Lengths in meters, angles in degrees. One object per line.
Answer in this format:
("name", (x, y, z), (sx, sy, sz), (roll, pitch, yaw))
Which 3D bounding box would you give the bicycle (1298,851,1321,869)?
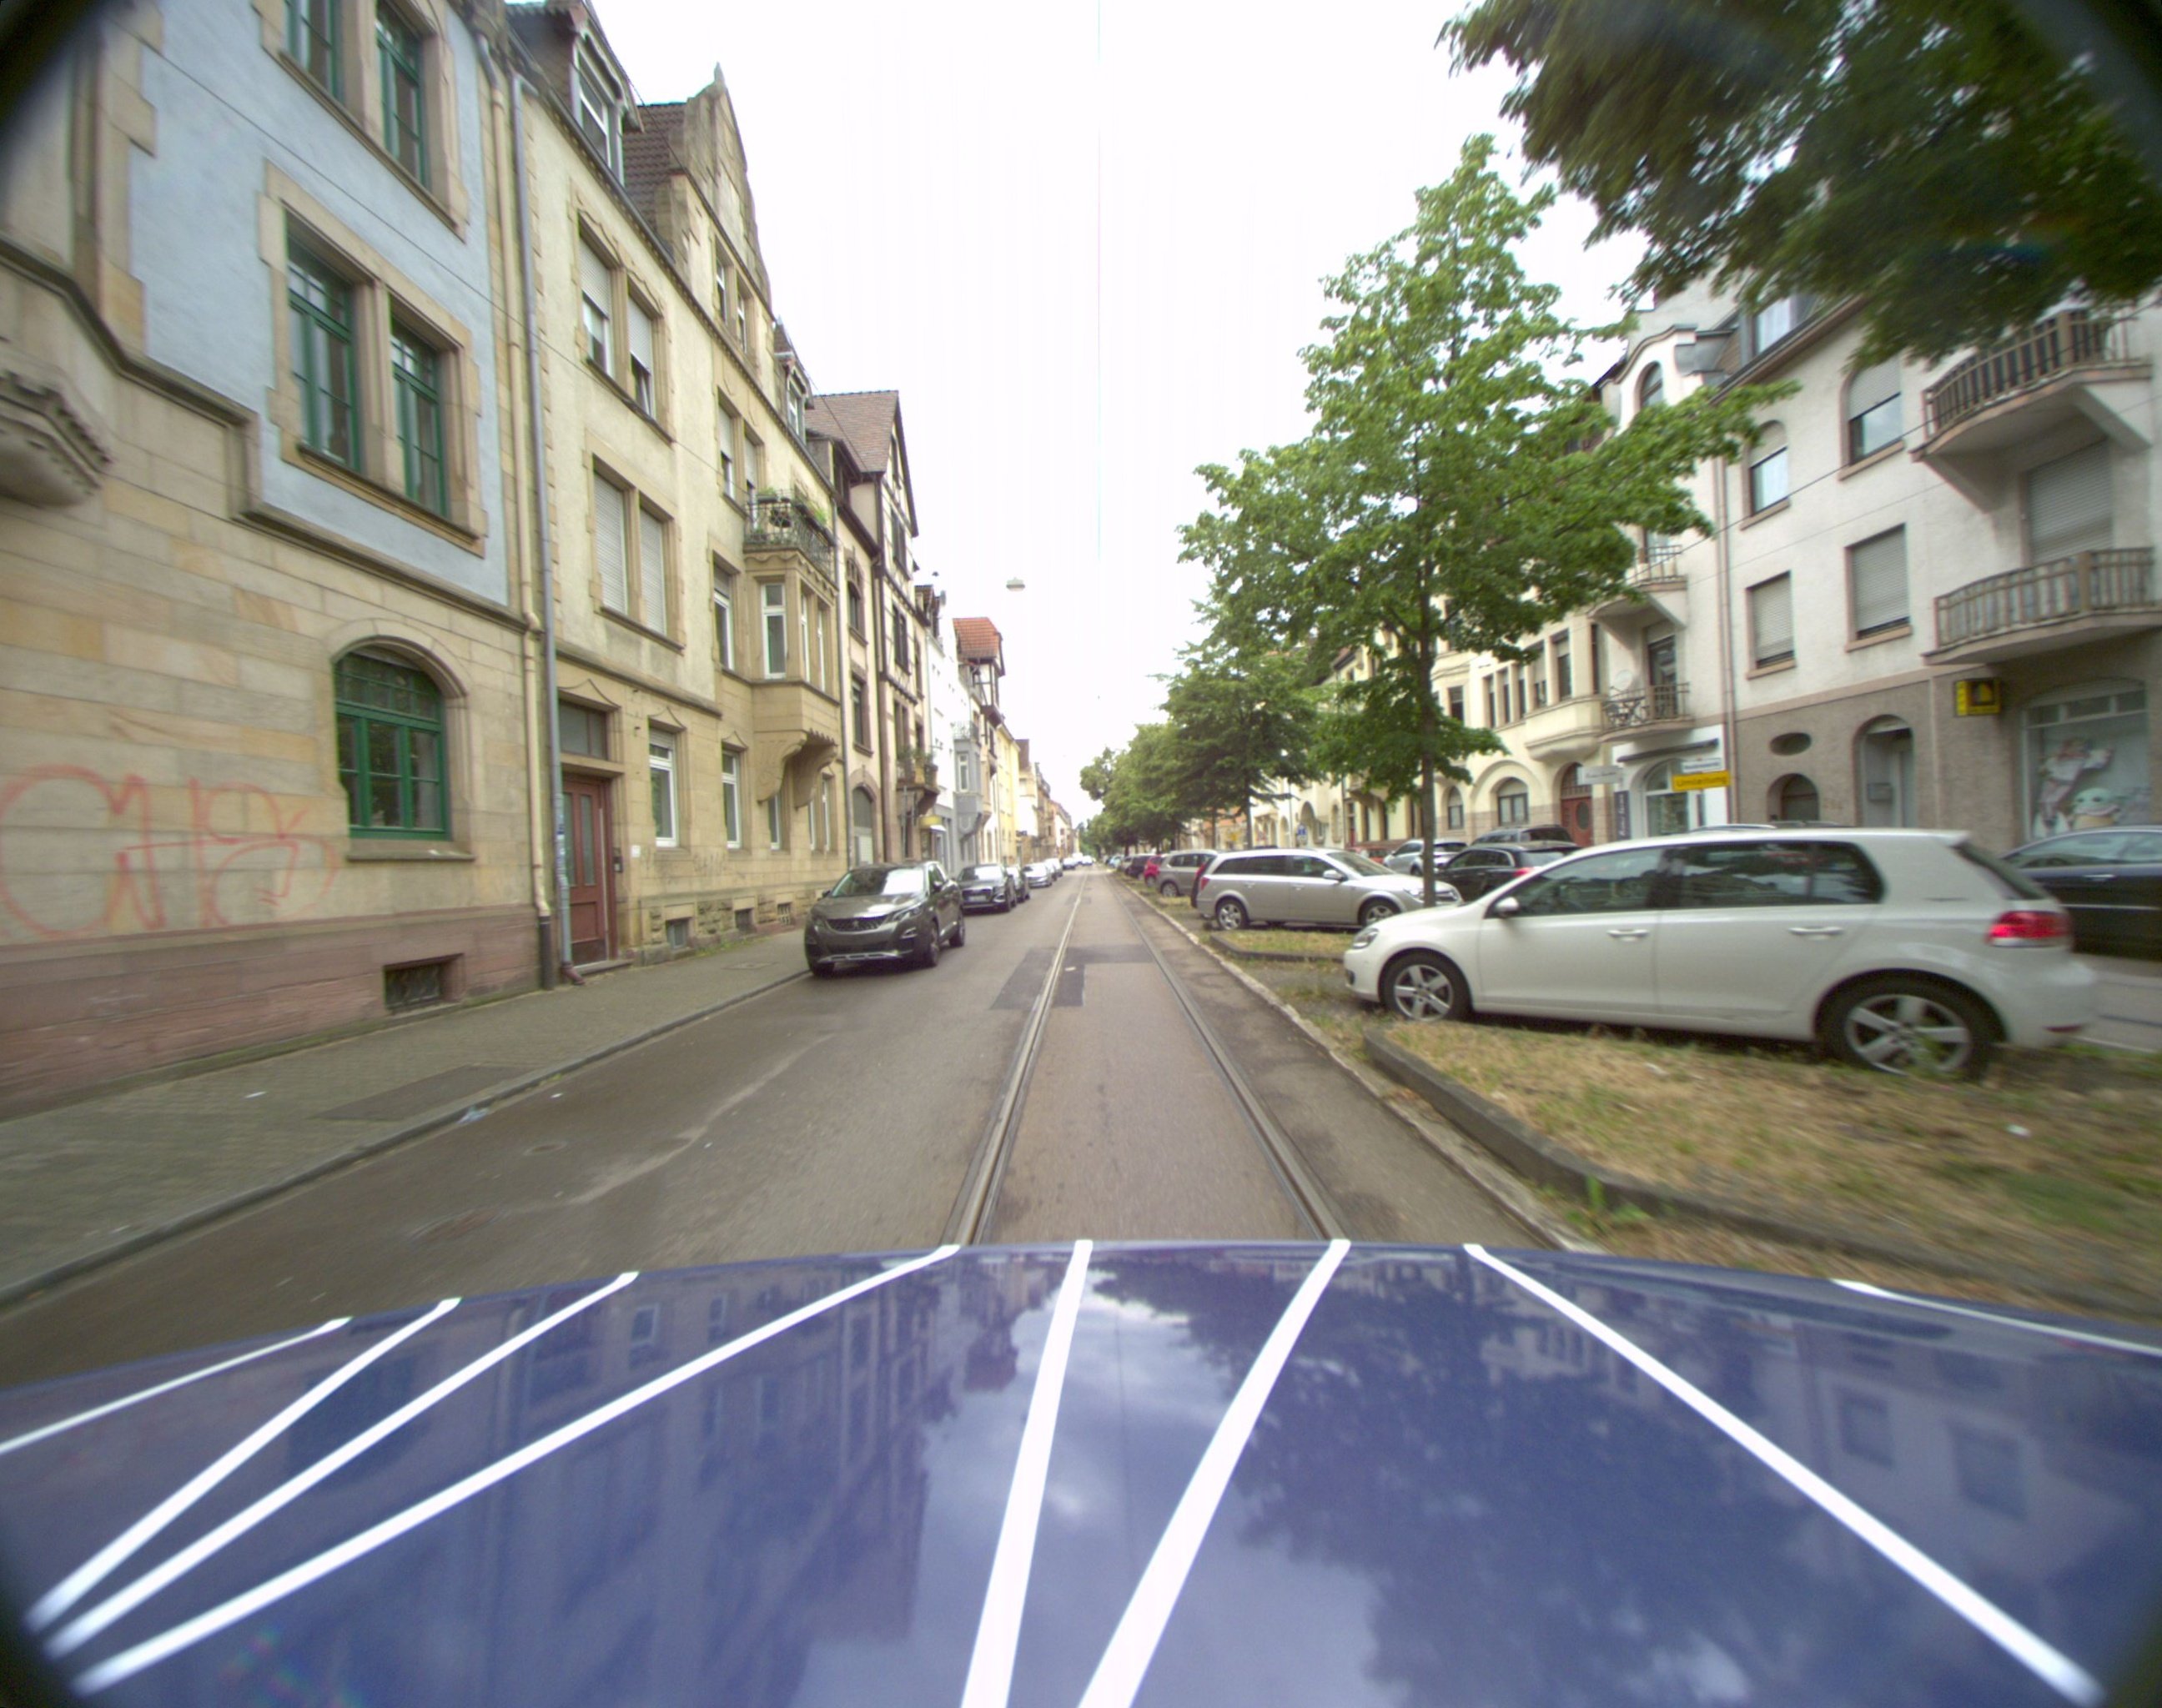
("bicycle", (15.564, 0.435, 51.823), (0.613, 1.120, 1.914), (-5, 0, -11))

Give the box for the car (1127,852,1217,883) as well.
("car", (4.858, 0.752, 41.012), (1.889, 1.458, 4.596), (-3, 0, -43))

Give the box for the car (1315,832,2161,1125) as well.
("car", (4.102, 0.637, 5.556), (4.119, 1.304, 1.867), (-3, 0, 44))

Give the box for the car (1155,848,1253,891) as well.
("car", (4.822, 0.593, 29.957), (3.418, 1.518, 1.693), (-1, 2, 43))

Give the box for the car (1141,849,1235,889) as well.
("car", (4.668, 0.682, 33.481), (1.678, 1.518, 3.803), (-4, 0, -44))

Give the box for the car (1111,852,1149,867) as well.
("car", (5.779, 0.648, 90.263), (3.989, 1.602, 1.902), (-2, -1, 32))

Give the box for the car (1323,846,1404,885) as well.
("car", (12.183, 0.470, 33.061), (1.855, 1.513, 4.194), (-2, 0, -1))

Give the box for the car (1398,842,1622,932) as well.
("car", (8.219, 0.535, 15.158), (1.809, 1.444, 4.652), (-3, 0, 0))

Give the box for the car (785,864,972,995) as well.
("car", (-3.034, 1.028, 12.453), (1.764, 1.612, 4.694), (-3, 0, -1))

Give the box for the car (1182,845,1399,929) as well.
("car", (4.280, 0.666, 15.953), (1.779, 1.476, 3.989), (-3, 0, -44))

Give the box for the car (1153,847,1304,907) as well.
("car", (4.427, 0.687, 23.237), (4.195, 1.600, 1.728), (-1, 2, 42))

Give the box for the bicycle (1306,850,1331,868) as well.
("bicycle", (15.553, 0.346, 49.754), (0.613, 1.120, 1.914), (-5, 0, -11))

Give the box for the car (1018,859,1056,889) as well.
("car", (-2.577, 1.171, 45.385), (1.793, 1.504, 4.214), (-5, 0, 2))

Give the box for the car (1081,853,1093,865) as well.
("car", (1.080, 0.842, 136.193), (1.998, 2.002, 4.000), (-3, 1, 1))

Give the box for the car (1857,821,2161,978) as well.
("car", (11.323, 0.413, 7.996), (1.809, 1.481, 4.387), (-3, 0, 0))

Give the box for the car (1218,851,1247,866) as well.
("car", (12.766, 0.390, 64.067), (1.639, 1.169, 3.380), (-3, 0, -1))

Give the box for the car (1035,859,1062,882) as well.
("car", (-2.415, 1.182, 56.806), (1.635, 1.478, 4.213), (-5, 0, 1))

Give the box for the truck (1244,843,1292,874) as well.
("truck", (12.509, 0.259, 51.185), (2.150, 1.845, 6.065), (-3, 0, 5))

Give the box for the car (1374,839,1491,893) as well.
("car", (12.024, 0.381, 26.385), (1.855, 1.650, 4.493), (-2, 0, -1))

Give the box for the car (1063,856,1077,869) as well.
("car", (-1.416, 1.146, 102.329), (1.676, 1.519, 4.213), (-3, 1, 1))

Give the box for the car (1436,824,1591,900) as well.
("car", (11.913, 0.206, 21.317), (1.855, 1.859, 4.431), (-2, 0, 2))

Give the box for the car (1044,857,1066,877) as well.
("car", (-2.276, 1.098, 66.870), (1.635, 1.519, 4.213), (-3, 1, 1))

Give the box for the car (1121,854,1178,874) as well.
("car", (5.284, 0.752, 58.677), (3.989, 1.407, 1.902), (-3, -1, 39))

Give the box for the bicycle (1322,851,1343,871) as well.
("bicycle", (15.614, 0.426, 47.206), (0.612, 1.120, 1.916), (-5, 0, 0))

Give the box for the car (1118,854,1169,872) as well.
("car", (5.341, 0.796, 65.478), (3.989, 1.407, 1.902), (-3, -1, 39))

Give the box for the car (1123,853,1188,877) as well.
("car", (4.990, 0.741, 51.177), (3.989, 1.458, 1.902), (-3, -2, 45))

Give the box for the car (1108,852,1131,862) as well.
("car", (7.191, 0.549, 142.181), (3.991, 1.602, 1.901), (-2, -1, 22))

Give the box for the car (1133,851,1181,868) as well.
("car", (7.048, 0.538, 70.186), (3.991, 1.407, 1.901), (-2, -1, 22))

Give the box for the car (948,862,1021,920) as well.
("car", (-2.976, 1.110, 24.365), (1.702, 1.504, 4.419), (-5, 0, -1))

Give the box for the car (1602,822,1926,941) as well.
("car", (11.522, 0.387, 13.319), (1.809, 1.670, 4.273), (-3, 0, 0))

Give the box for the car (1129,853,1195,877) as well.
("car", (5.062, 0.695, 47.749), (3.727, 1.380, 1.793), (-3, -2, 45))

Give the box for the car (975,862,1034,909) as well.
("car", (-2.864, 1.158, 29.392), (1.702, 1.504, 4.391), (-5, 0, 0))

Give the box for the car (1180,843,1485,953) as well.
("car", (4.096, 0.695, 12.998), (1.867, 1.484, 4.553), (-4, 1, -43))
